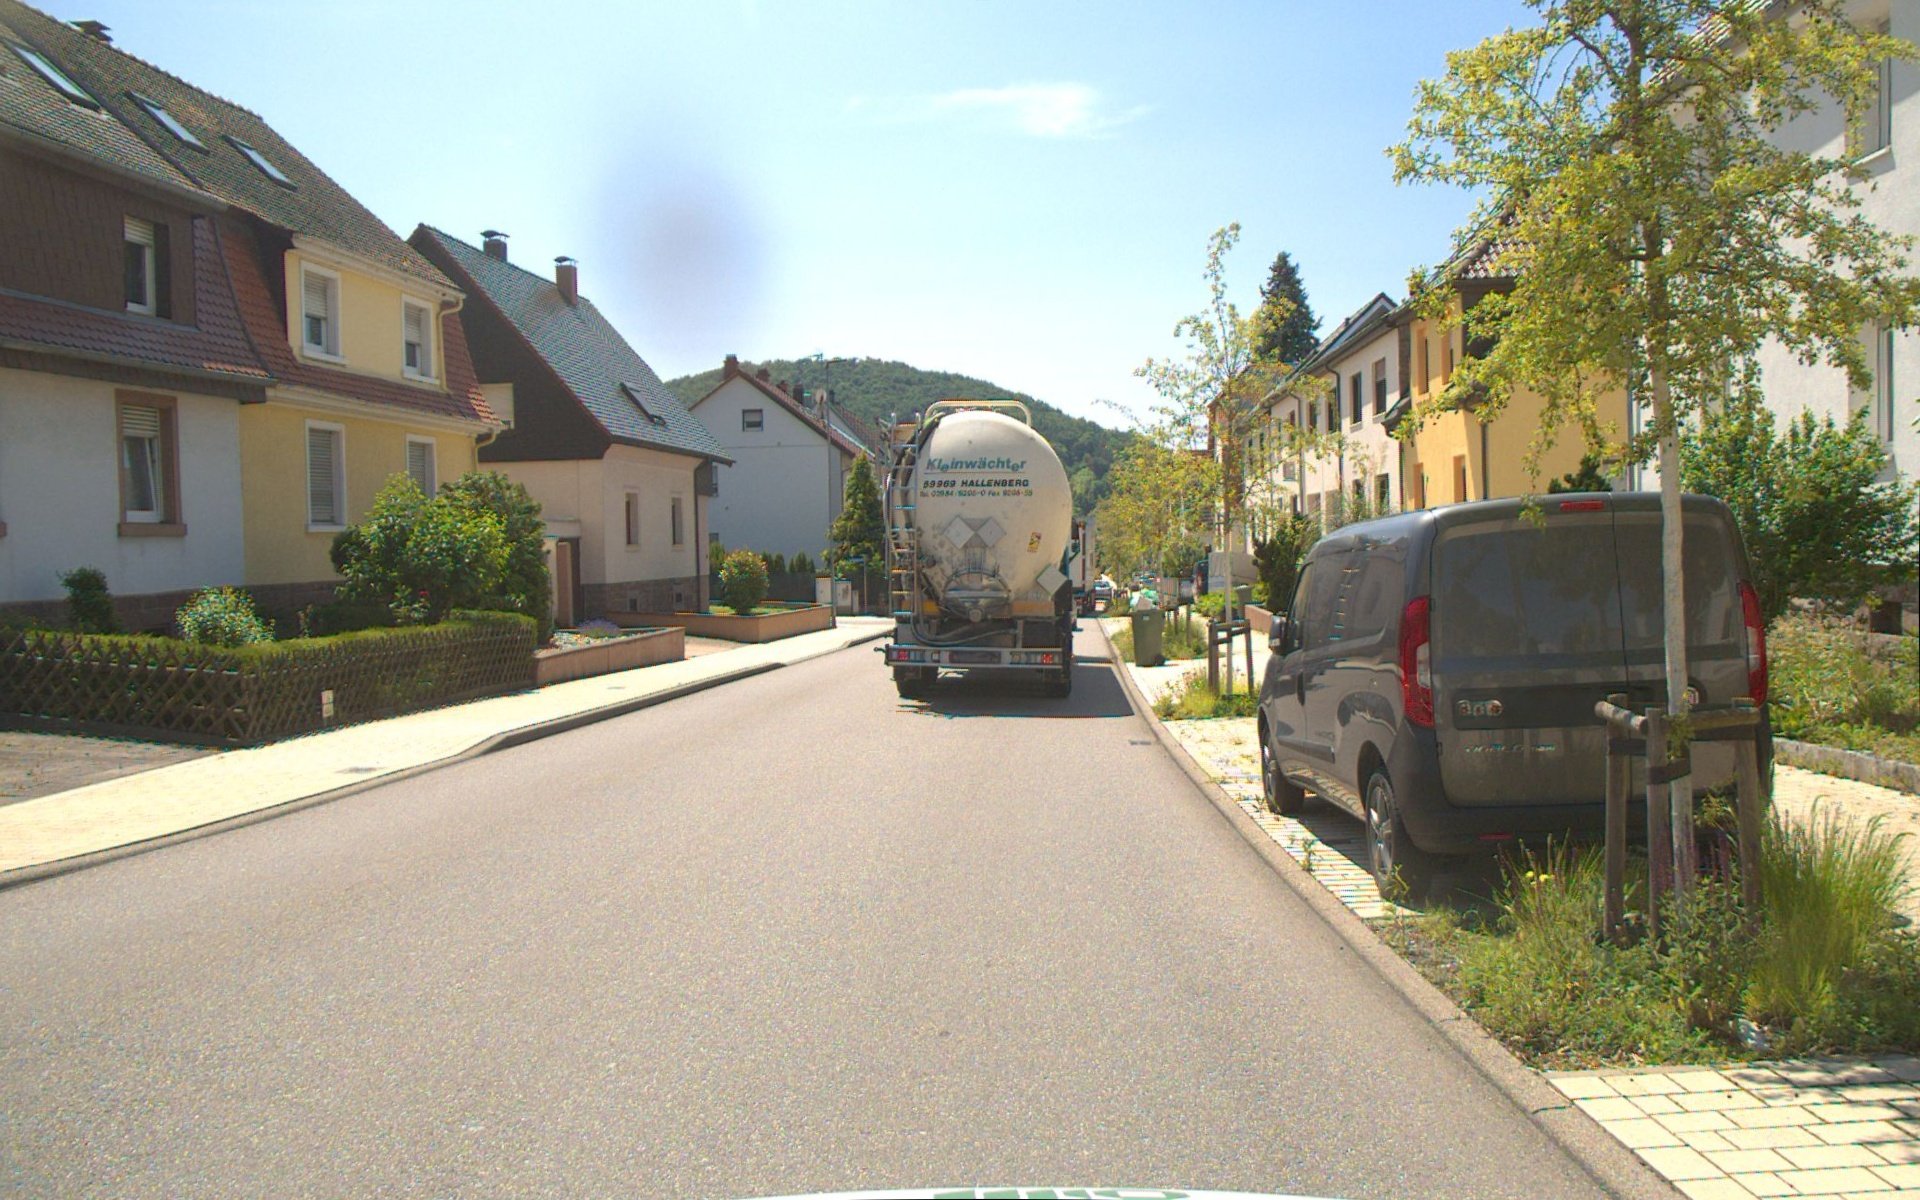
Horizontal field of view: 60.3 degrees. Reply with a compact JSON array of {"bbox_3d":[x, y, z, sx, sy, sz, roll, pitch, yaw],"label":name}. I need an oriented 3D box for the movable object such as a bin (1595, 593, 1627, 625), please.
[{"bbox_3d":[11.776,0.158,29.934,0.444,0.581,0.375,0,0,4],"label":"movable object such as a bin"}]

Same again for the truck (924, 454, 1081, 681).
[{"bbox_3d":[0.902,-0.627,32.361,2.750,4.005,6.102,0,1,3],"label":"truck"}]

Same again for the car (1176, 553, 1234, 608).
[{"bbox_3d":[10.131,-0.802,68.643,1.814,2.004,4.776,-6,0,4],"label":"car"}]

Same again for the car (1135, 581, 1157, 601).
[{"bbox_3d":[15.407,-0.771,137.001,1.753,1.568,4.523,-1,0,6],"label":"car"}]

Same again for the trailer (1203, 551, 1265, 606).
[{"bbox_3d":[10.542,-0.832,63.626,2.256,2.049,1.303,-1,1,-44],"label":"trailer"}]

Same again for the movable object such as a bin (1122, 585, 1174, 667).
[{"bbox_3d":[3.472,0.473,30.668,0.776,1.419,0.925,-5,0,2],"label":"movable object such as a bin"}]

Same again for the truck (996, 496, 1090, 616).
[{"bbox_3d":[3.719,-1.937,75.250,3.829,4.981,9.799,-2,1,2],"label":"truck"}]

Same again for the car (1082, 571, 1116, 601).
[{"bbox_3d":[8.871,-0.897,105.837,1.952,1.853,4.001,0,0,2],"label":"car"}]

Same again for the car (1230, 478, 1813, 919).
[{"bbox_3d":[2.853,0.404,9.614,1.817,1.874,4.671,-2,1,1],"label":"car"}]

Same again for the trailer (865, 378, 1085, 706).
[{"bbox_3d":[0.526,-0.792,25.780,2.737,4.070,10.329,0,1,4],"label":"trailer"}]

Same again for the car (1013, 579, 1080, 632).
[{"bbox_3d":[2.839,0.155,53.556,1.868,1.581,4.003,-2,1,6],"label":"car"}]

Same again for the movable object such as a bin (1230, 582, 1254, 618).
[{"bbox_3d":[9.275,0.008,54.396,0.669,1.134,0.813,-4,-1,10],"label":"movable object such as a bin"}]
